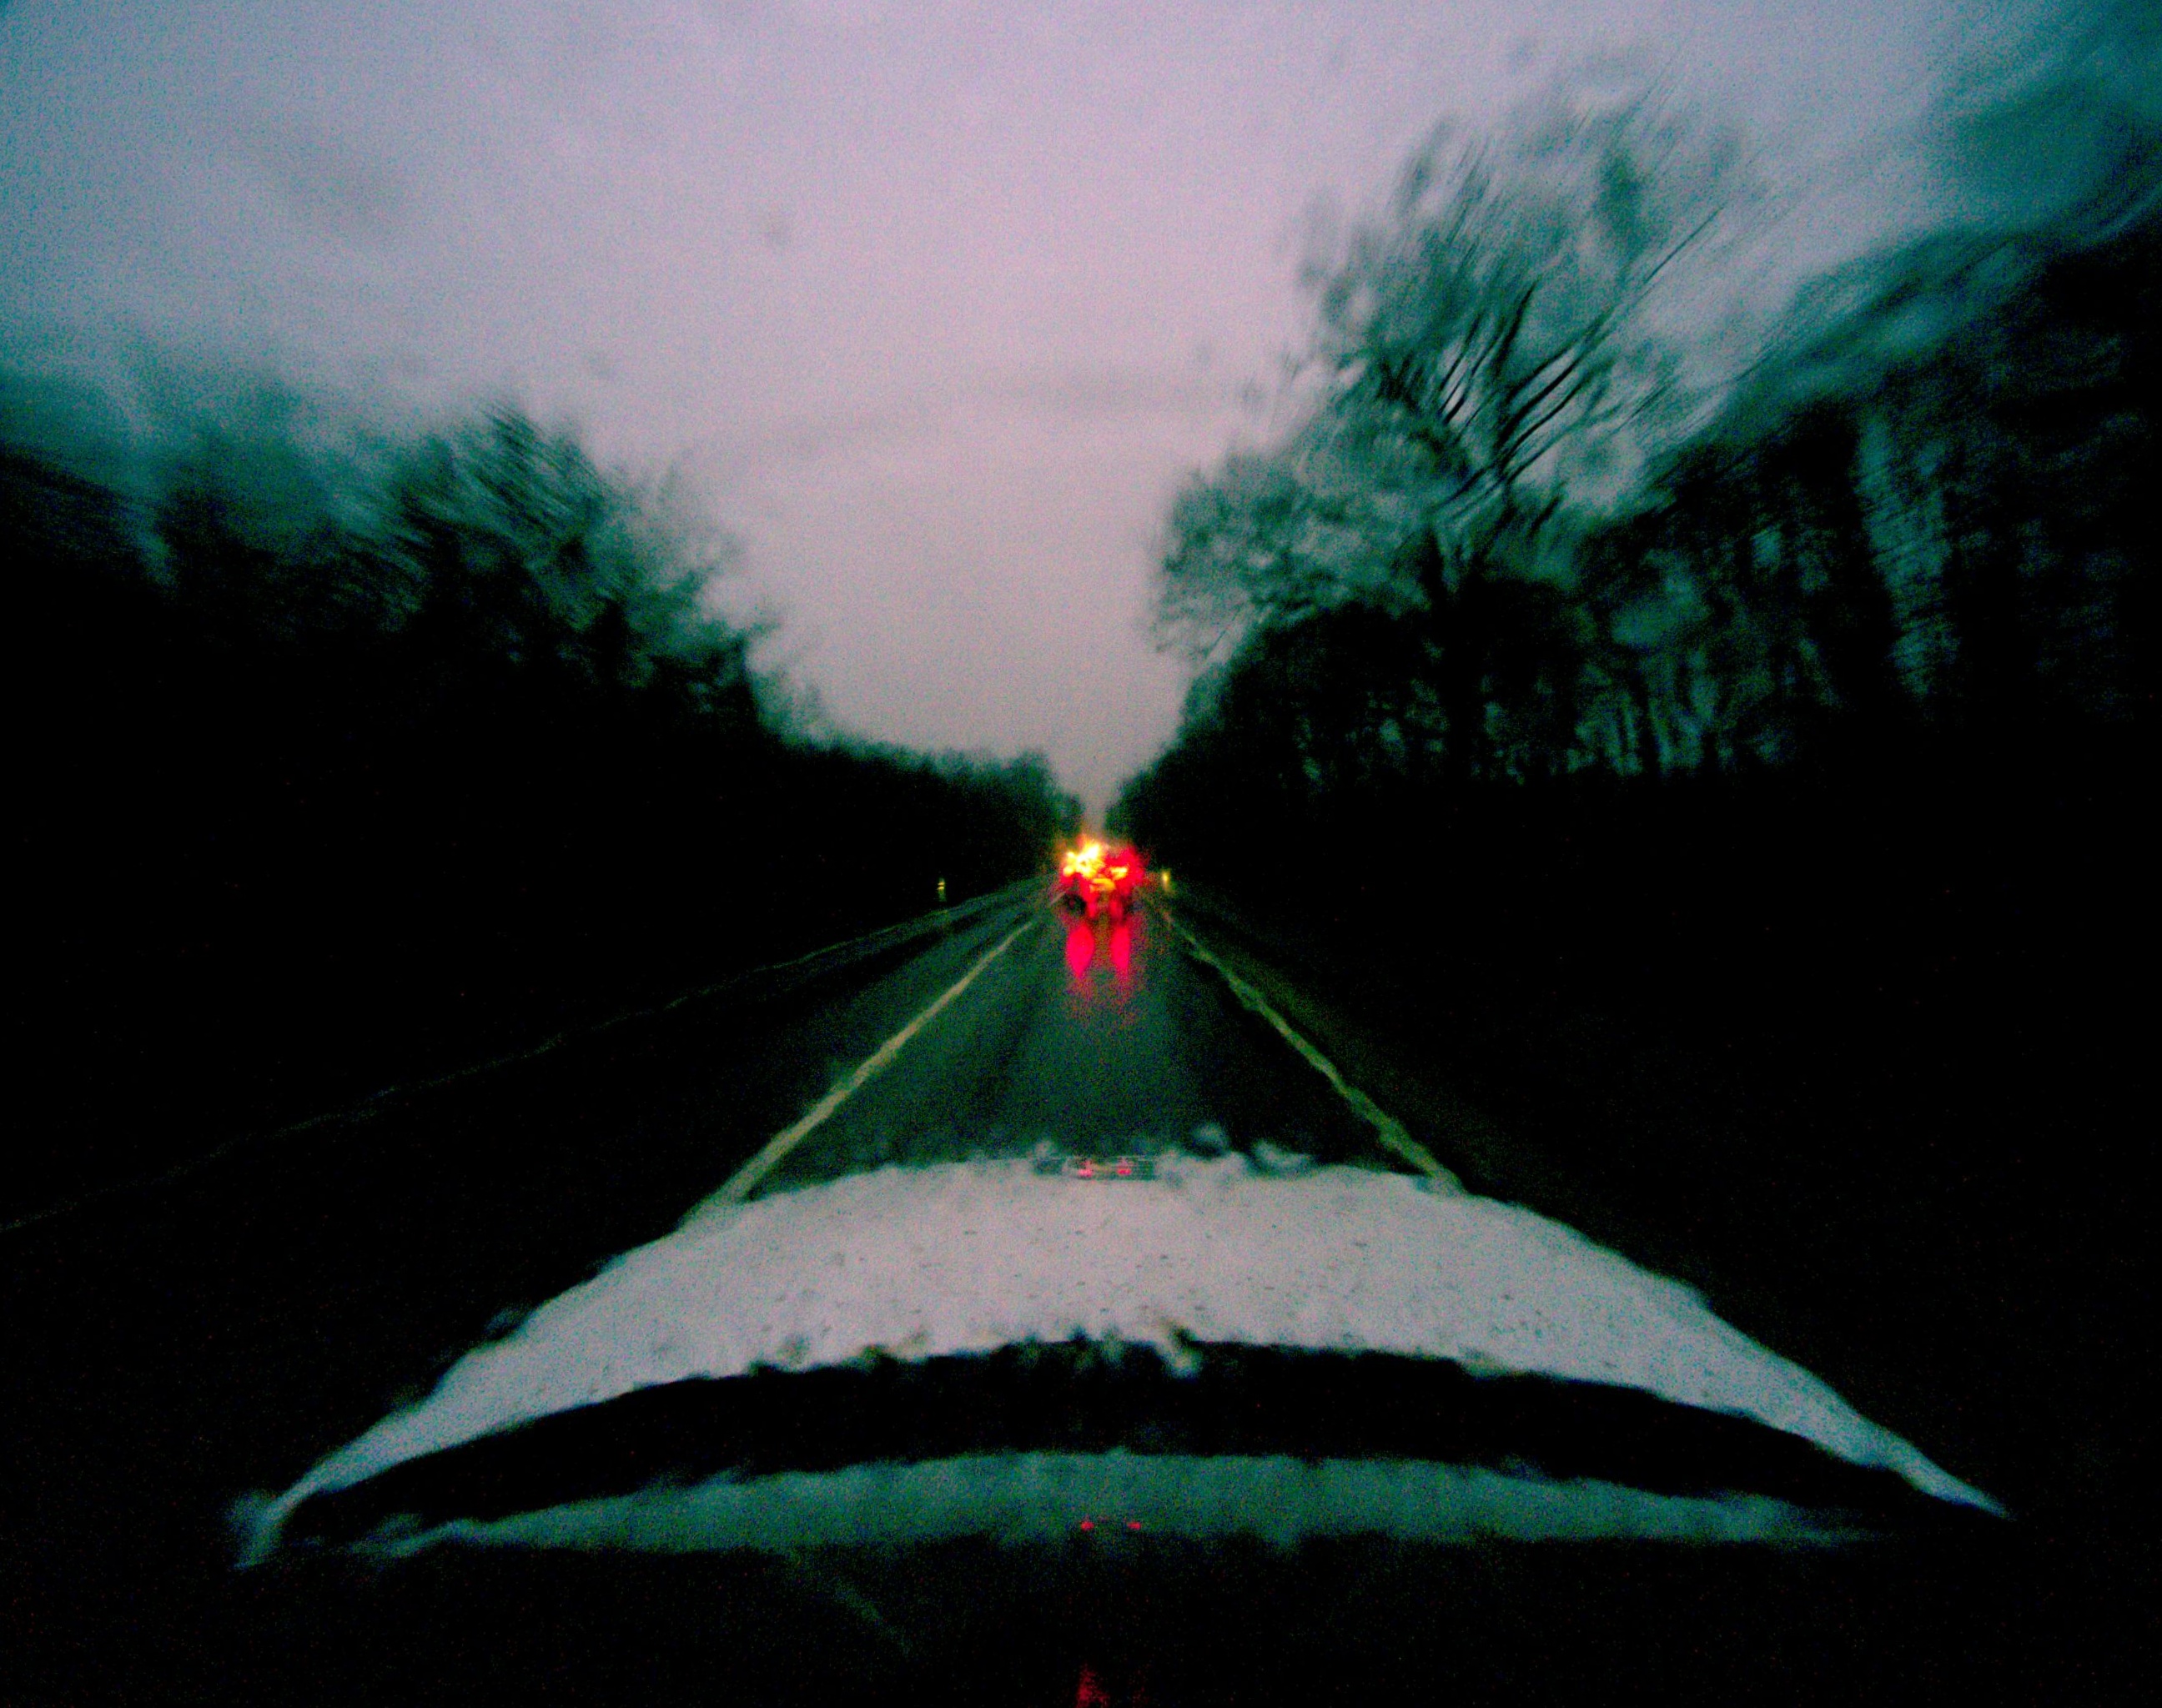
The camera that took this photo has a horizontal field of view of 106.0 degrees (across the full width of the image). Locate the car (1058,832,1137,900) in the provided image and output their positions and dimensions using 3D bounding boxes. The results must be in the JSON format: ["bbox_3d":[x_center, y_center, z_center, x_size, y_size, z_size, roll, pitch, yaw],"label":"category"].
[{"bbox_3d":[0.503,0.322,25.025,2.190,1.877,4.828,0,0,1],"label":"car"}]
